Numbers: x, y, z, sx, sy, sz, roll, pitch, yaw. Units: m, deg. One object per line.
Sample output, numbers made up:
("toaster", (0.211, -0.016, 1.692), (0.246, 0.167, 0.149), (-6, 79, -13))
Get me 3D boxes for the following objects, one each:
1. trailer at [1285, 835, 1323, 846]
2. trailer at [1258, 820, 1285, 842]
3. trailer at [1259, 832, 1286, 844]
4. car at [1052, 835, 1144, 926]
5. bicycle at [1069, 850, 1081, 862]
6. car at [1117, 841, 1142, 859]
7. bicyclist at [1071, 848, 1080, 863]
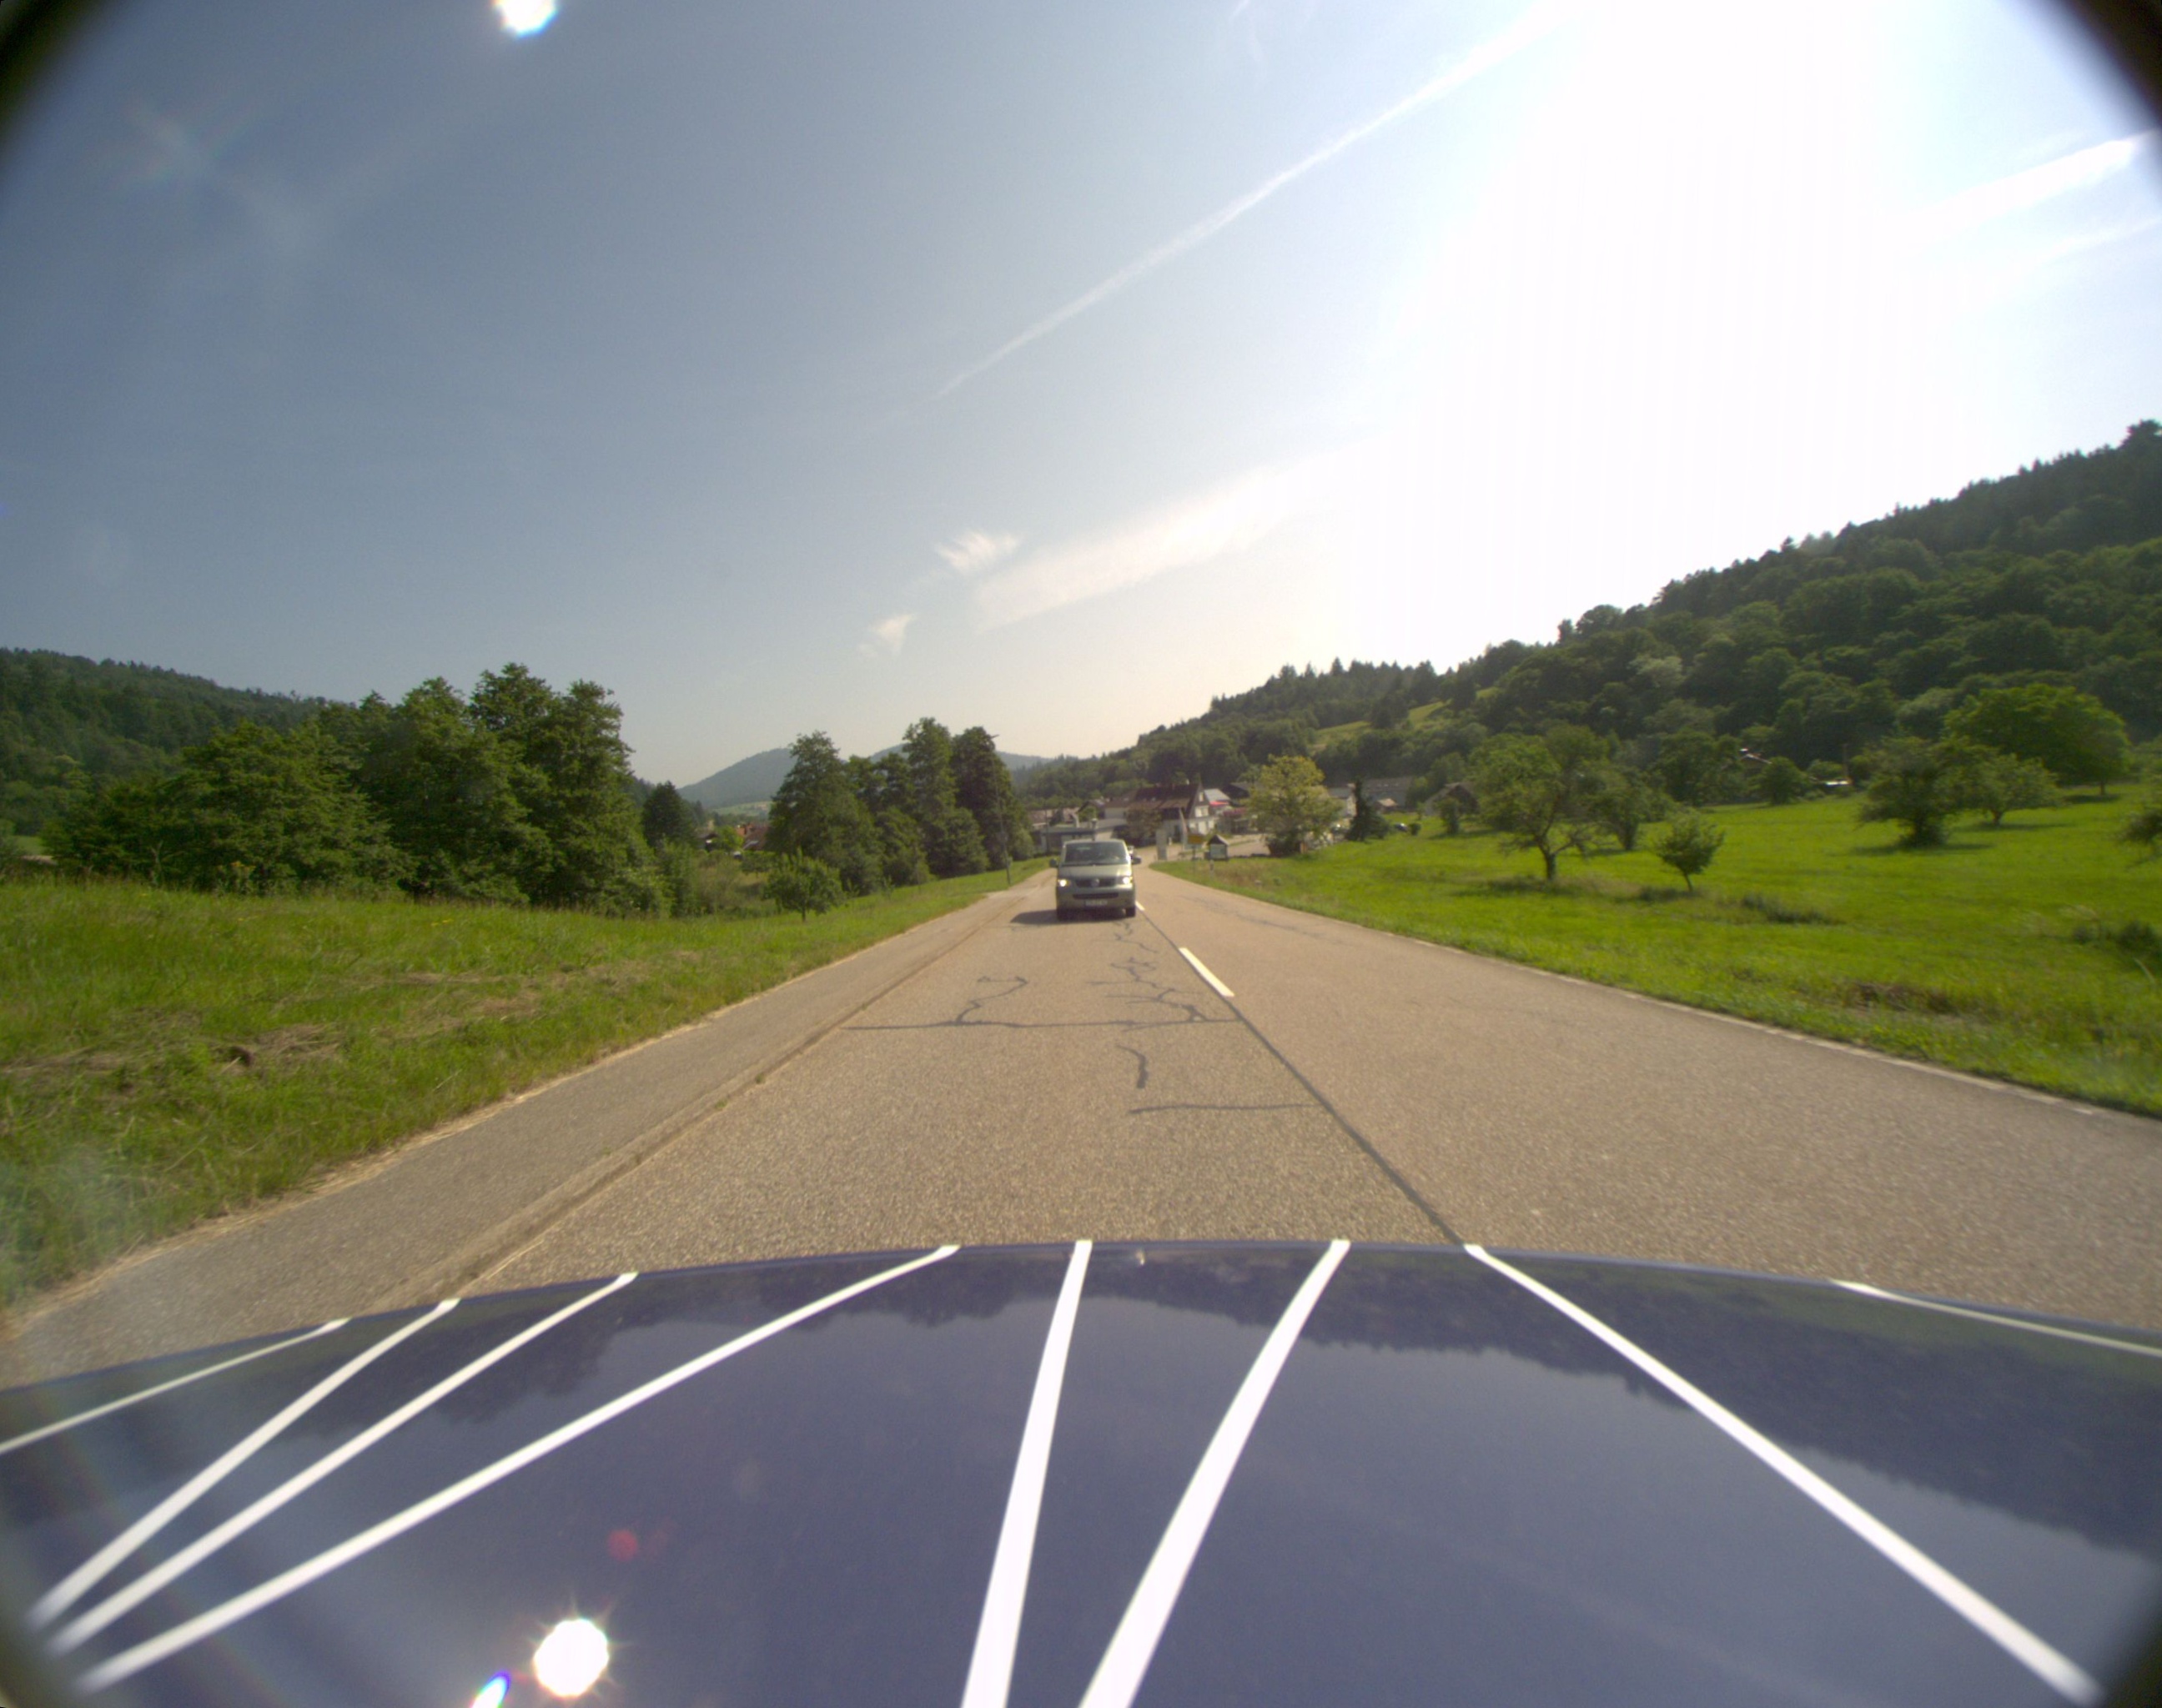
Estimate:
("trailer", (26.639, -1.638, 90.741), (3.935, 0.934, 1.870), (-3, 4, 33))
("trailer", (27.774, -3.374, 110.738), (3.394, 2.896, 1.886), (-3, 3, 28))
("trailer", (26.389, -2.185, 104.492), (1.995, 1.220, 5.553), (-3, 3, 30))
("car", (0.387, 0.580, 19.576), (2.024, 1.970, 5.048), (-2, 0, 0))
("bicycle", (-0.582, 0.217, 73.203), (0.580, 1.029, 1.992), (1, 4, 16))
("car", (5.784, -0.493, 90.302), (1.765, 1.737, 3.982), (-4, 4, 19))
("bicyclist", (-0.540, 0.123, 73.370), (0.580, 1.335, 1.146), (1, 4, 16))
